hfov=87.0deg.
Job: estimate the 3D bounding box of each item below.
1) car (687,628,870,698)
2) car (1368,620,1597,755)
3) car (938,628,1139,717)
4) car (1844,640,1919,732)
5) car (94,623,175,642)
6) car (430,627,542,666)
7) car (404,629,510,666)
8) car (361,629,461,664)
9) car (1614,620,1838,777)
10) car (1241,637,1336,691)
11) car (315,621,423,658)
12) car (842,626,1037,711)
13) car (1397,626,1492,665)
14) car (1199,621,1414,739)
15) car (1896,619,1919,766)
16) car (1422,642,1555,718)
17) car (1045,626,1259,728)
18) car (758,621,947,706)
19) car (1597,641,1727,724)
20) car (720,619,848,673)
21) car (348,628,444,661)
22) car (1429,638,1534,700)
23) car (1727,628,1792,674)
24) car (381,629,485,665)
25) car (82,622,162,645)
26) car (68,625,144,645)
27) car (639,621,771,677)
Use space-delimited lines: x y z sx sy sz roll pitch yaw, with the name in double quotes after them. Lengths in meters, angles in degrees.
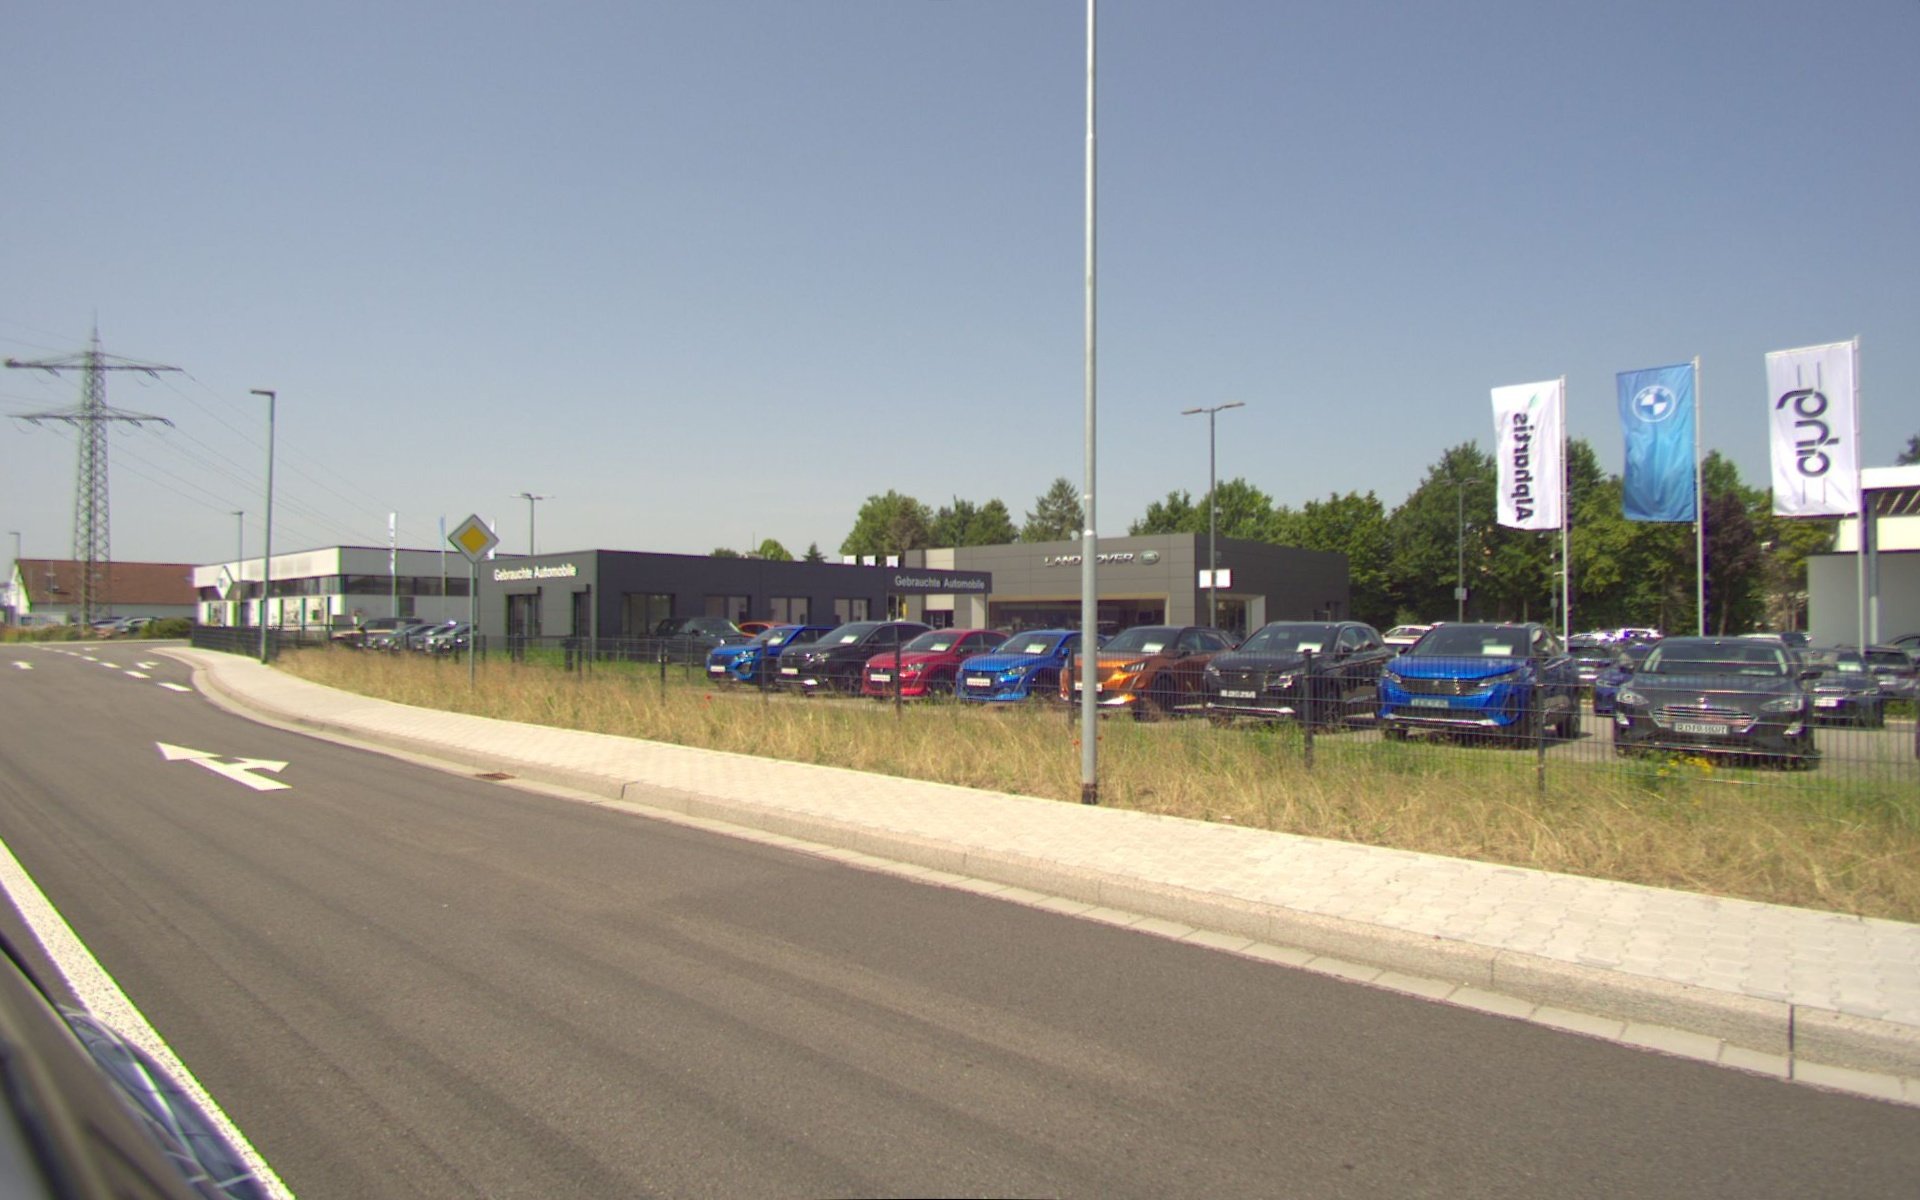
-4.166 1.445 23.737 1.909 1.492 3.947 -2 -3 39 "car"
7.202 1.093 13.752 1.969 1.546 3.947 -2 -3 39 "car"
1.543 1.285 18.754 1.784 1.456 3.947 -2 -3 39 "car"
17.045 1.463 17.981 1.813 1.506 3.947 -2 -3 39 "car"
-59.001 2.349 72.409 1.831 1.325 4.184 -2 -3 37 "car"
-20.849 2.037 44.615 1.821 1.644 4.107 -2 -3 39 "car"
-23.134 2.176 46.663 1.967 1.644 3.945 -3 -3 41 "car"
-27.201 2.306 50.234 1.975 1.644 3.947 -2 -3 39 "car"
9.165 1.058 12.083 1.813 1.546 3.947 -2 -3 39 "car"
10.511 2.001 32.205 1.674 1.606 3.950 -2 -3 37 "car"
-31.813 2.104 54.630 4.602 1.879 2.071 0 0 -12 "car"
-0.318 1.324 20.344 1.813 1.540 3.947 -2 -3 39 "car"
26.121 2.469 54.654 4.338 2.053 1.606 -2 -3 38 "car"
5.358 1.135 15.352 1.813 1.546 3.947 -2 -3 39 "car"
11.194 0.974 10.358 2.051 1.584 3.947 -2 -3 39 "car"
11.699 1.677 22.280 1.813 1.506 3.947 -2 -3 39 "car"
3.347 1.237 17.134 1.913 1.506 3.947 -2 -3 39 "car"
-2.243 1.330 21.923 1.813 1.648 3.947 -2 -3 39 "car"
14.209 1.579 20.403 1.813 1.506 3.947 -2 -3 39 "car"
-6.377 1.607 36.399 4.748 1.752 1.934 0 -2 40 "car"
-29.047 2.305 52.197 1.885 1.644 3.947 -2 -3 39 "car"
14.683 1.884 28.412 1.813 1.598 3.947 -2 -3 39 "car"
27.614 1.747 34.952 1.625 1.492 4.288 -2 -3 39 "car"
-25.168 2.262 48.435 1.975 1.644 3.947 -2 -3 39 "car"
-61.483 2.495 74.284 1.831 1.660 4.184 -2 -3 37 "car"
-64.192 2.658 76.117 1.994 1.425 3.954 -2 -3 34 "car"
-8.756 1.629 34.524 4.748 1.752 1.934 0 -2 40 "car"
